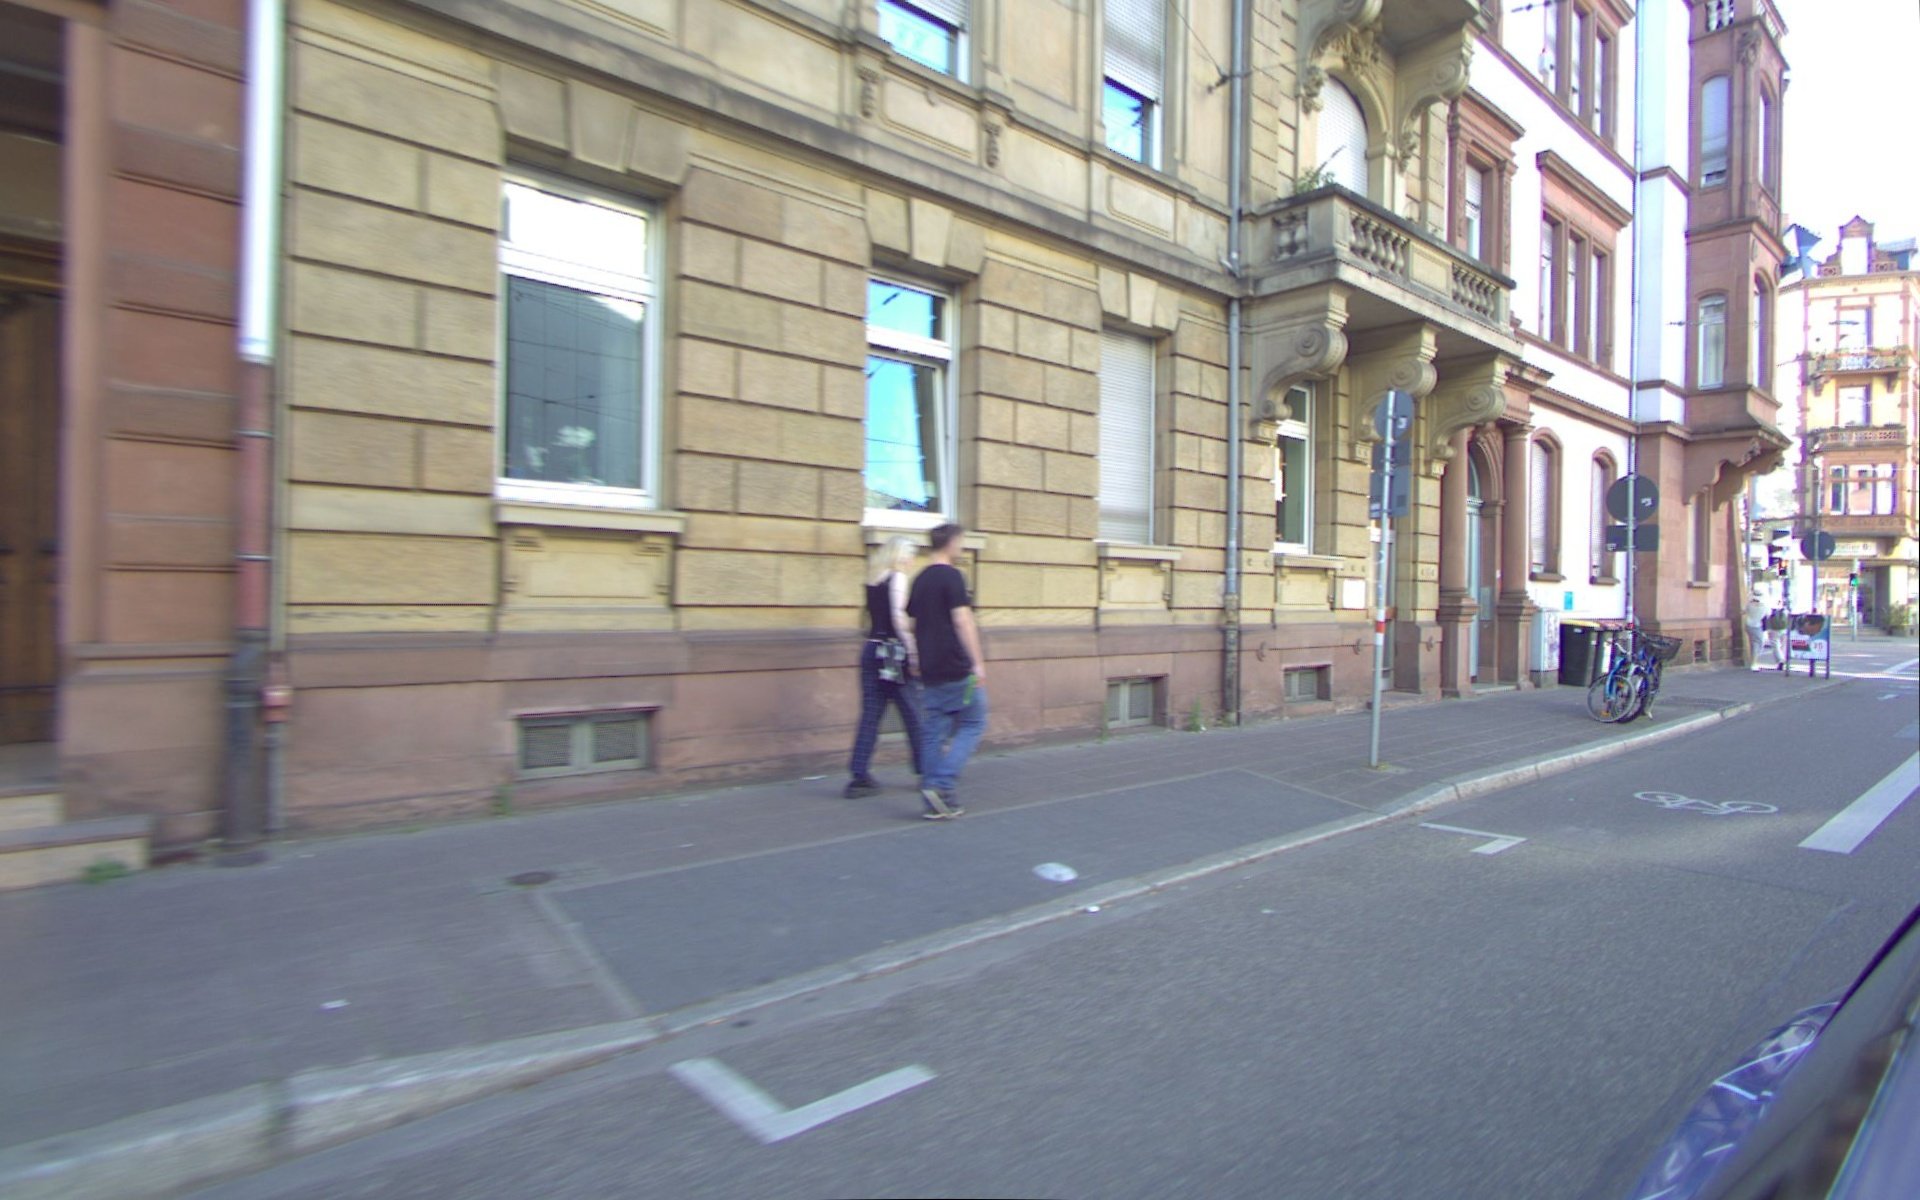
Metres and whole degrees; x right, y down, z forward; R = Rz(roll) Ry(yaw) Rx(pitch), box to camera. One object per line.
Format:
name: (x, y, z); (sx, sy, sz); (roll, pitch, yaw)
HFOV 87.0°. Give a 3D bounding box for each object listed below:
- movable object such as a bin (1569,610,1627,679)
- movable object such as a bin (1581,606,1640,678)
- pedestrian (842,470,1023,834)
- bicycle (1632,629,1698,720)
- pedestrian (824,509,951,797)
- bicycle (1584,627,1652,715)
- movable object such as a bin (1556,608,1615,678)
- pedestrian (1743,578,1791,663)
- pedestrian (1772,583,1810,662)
movable object such as a bin: (10.659, 0.731, 16.905); (0.561, 1.090, 0.667); (1, 1, -42)
movable object such as a bin: (11.139, 0.709, 17.331); (0.584, 1.168, 0.667); (1, 1, -42)
pedestrian: (-0.167, 0.272, 6.120); (0.809, 2.037, 0.587); (0, 4, -42)
bicycle: (8.461, 0.854, 12.117); (0.430, 0.959, 1.737); (1, 1, 42)
pedestrian: (-0.483, 0.322, 6.739); (0.596, 1.804, 0.554); (0, 2, -42)
bicycle: (8.123, 0.838, 12.461); (0.430, 0.959, 1.737); (1, 1, 42)
movable object such as a bin: (10.168, 0.688, 16.448); (0.561, 1.090, 0.667); (0, 1, -41)
pedestrian: (17.450, 0.448, 21.889); (0.661, 1.805, 0.706); (3, -2, -42)
pedestrian: (18.520, 0.495, 22.549); (0.625, 1.722, 0.672); (1, 0, 40)
